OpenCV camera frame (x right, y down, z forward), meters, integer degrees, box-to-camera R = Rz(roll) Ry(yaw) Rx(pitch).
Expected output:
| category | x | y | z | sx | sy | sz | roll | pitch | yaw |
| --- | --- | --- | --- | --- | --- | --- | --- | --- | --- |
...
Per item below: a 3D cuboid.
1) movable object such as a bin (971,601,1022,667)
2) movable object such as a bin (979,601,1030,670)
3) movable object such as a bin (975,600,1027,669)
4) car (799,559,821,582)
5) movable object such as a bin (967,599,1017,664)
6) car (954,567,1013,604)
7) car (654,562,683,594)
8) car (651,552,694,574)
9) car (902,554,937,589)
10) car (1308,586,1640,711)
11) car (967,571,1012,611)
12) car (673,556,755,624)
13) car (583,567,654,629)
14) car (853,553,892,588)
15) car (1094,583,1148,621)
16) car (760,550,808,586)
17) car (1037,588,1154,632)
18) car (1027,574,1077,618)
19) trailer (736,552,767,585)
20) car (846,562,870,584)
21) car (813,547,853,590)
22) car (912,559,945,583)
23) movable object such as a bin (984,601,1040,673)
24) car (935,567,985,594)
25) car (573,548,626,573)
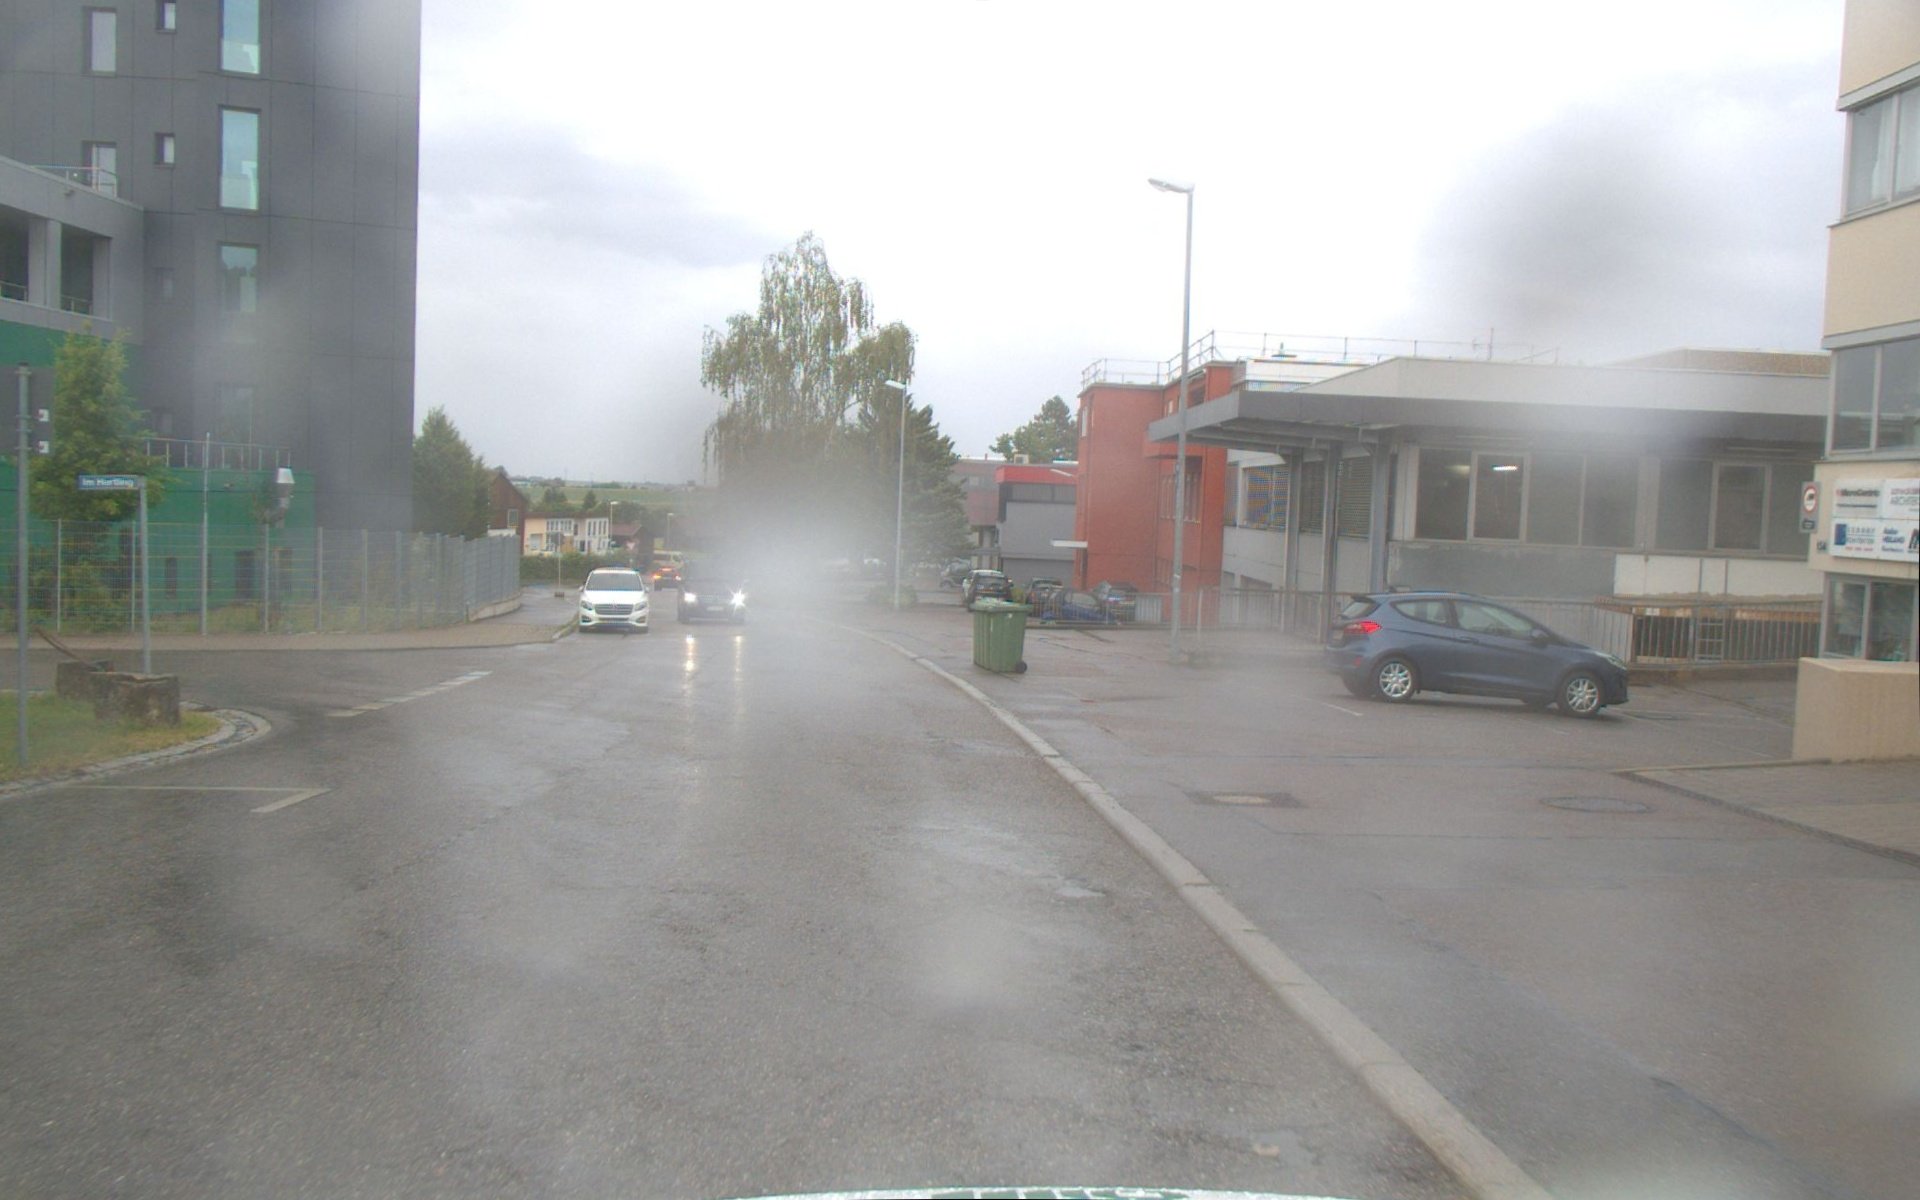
| category | x | y | z | sx | sy | sz | roll | pitch | yaw |
| --- | --- | --- | --- | --- | --- | --- | --- | --- | --- |
| movable object such as a bin | 0.620 | 0.566 | 28.113 | 0.793 | 1.095 | 0.581 | 1 | 0 | -6 |
| movable object such as a bin | 0.720 | 0.576 | 26.982 | 0.760 | 1.094 | 0.583 | 1 | 0 | -6 |
| movable object such as a bin | 0.677 | 0.568 | 27.555 | 0.793 | 1.109 | 0.541 | 1 | 0 | -6 |
| car | -9.731 | -1.890 | 107.071 | 1.266 | 1.449 | 2.542 | 1 | 0 | -7 |
| movable object such as a bin | 0.557 | 0.549 | 28.715 | 0.786 | 1.098 | 0.624 | 1 | 0 | -6 |
| car | 1.016 | -0.630 | 74.257 | 2.027 | 1.579 | 3.992 | 1 | 0 | -9 |
| car | -19.326 | -1.442 | 109.770 | 1.835 | 2.064 | 3.991 | 1 | 0 | -10 |
| car | -31.248 | -4.069 | 179.951 | 4.151 | 2.264 | 2.001 | 1 | -1 | 5 |
| car | -2.537 | -1.744 | 102.976 | 1.747 | 2.049 | 3.626 | 1 | 0 | -7 |
| car | 6.806 | 0.629 | 22.161 | 3.816 | 1.407 | 1.820 | 3 | -1 | -2 |
| car | 1.154 | -0.343 | 66.783 | 1.663 | 1.501 | 3.999 | 1 | 0 | -1 |
| car | -7.532 | -0.339 | 50.274 | 1.854 | 1.919 | 5.052 | 2 | 1 | -15 |
| car | -8.981 | -0.052 | 43.432 | 1.739 | 1.539 | 4.132 | 1 | 0 | -12 |
| car | -5.424 | -1.810 | 102.532 | 2.105 | 2.049 | 3.933 | 1 | 0 | -7 |
| car | 6.444 | 0.085 | 66.716 | 1.694 | 1.446 | 3.999 | 1 | 0 | -1 |
| car | -10.757 | -1.935 | 101.015 | 2.228 | 2.049 | 3.982 | 1 | 0 | -16 |
| car | 3.979 | 0.278 | 49.010 | 3.330 | 1.183 | 1.792 | 2 | 1 | 1 |
| car | 3.717 | -0.150 | 67.406 | 1.704 | 1.682 | 3.999 | 1 | 0 | -1 |
| trailer | -13.263 | -1.999 | 104.965 | 1.818 | 2.049 | 3.993 | 1 | 1 | -8 |
| car | -6.662 | -1.785 | 108.141 | 1.372 | 1.349 | 2.696 | 1 | 0 | -7 |
| car | -7.817 | -1.920 | 101.518 | 2.152 | 2.502 | 3.991 | 1 | 0 | -9 |
| car | -2.089 | -1.870 | 108.852 | 1.607 | 1.479 | 3.502 | 1 | 0 | -10 |
| movable object such as a bin | 0.827 | 0.579 | 26.336 | 0.791 | 1.112 | 0.708 | 1 | 0 | -6 |
| car | -0.009 | -1.032 | 88.869 | 2.499 | 1.375 | 1.241 | 2 | 0 | -6 |
| car | -30.147 | -3.299 | 138.334 | 3.906 | 1.914 | 2.000 | 2 | 1 | -1 |
